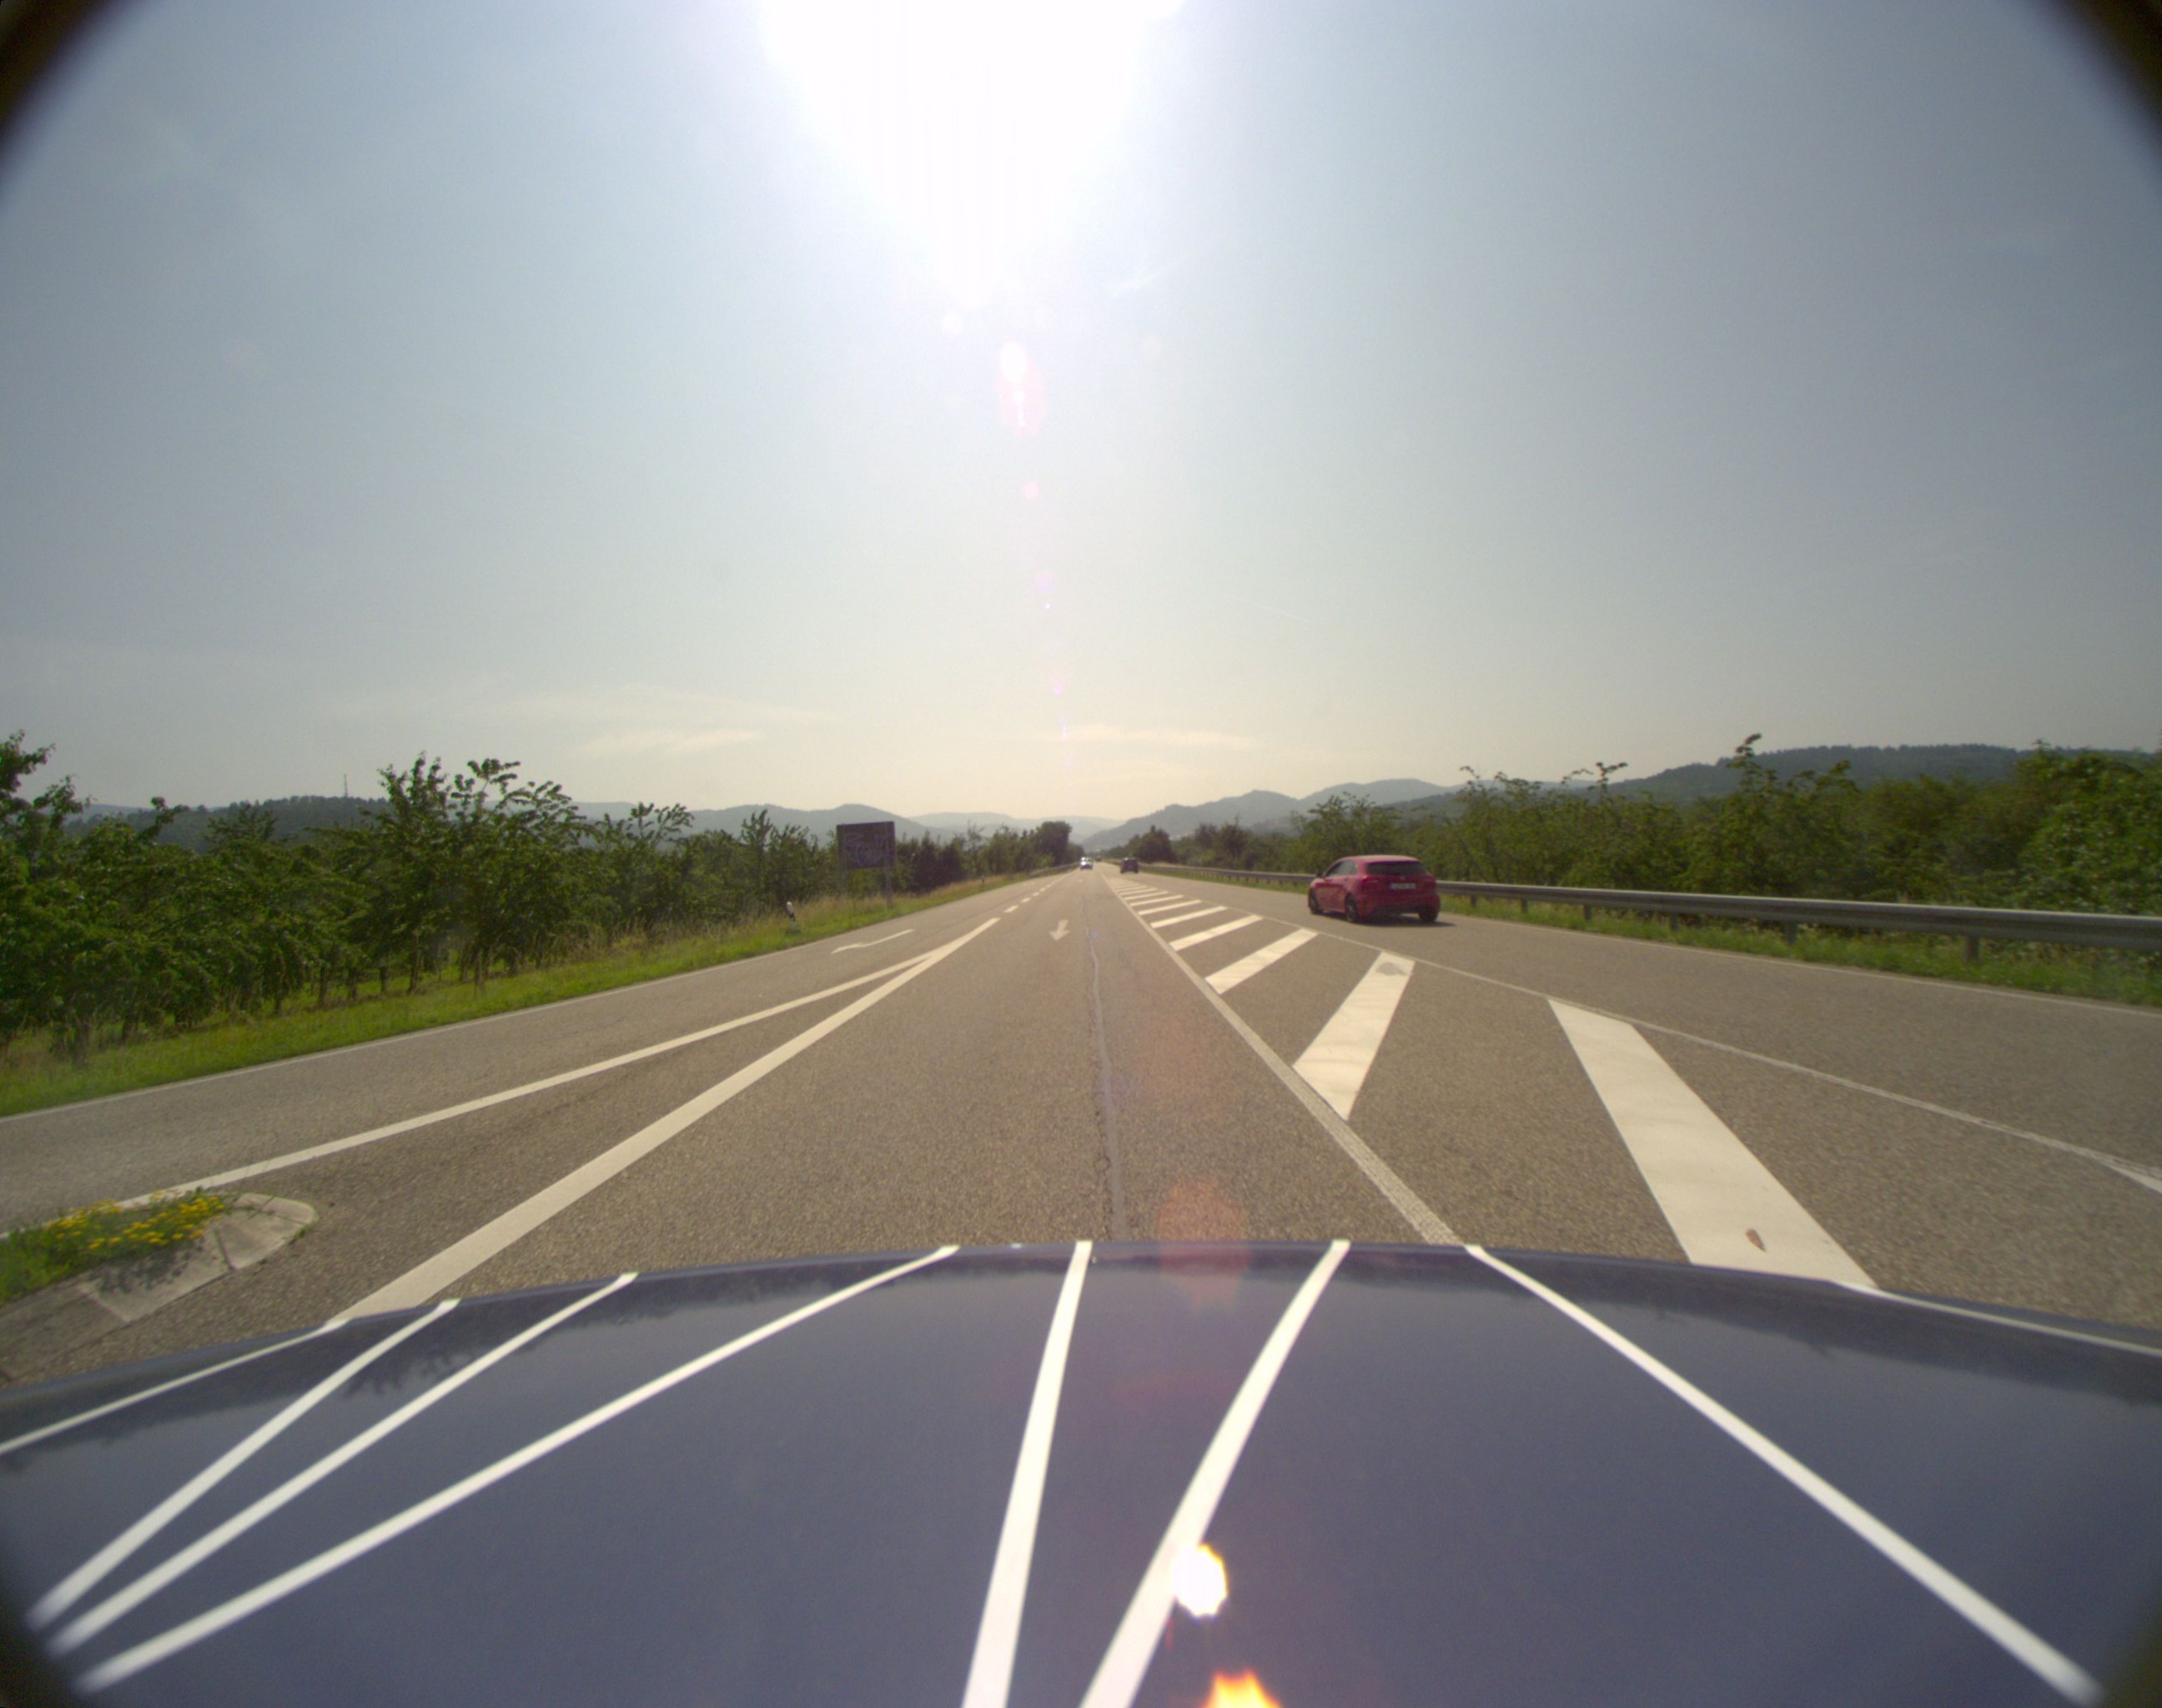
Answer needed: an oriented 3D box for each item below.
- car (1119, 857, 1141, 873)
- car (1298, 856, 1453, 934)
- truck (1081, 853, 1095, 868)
[{"bbox_3d":[5.269,1.133,81.618,1.808,1.628,4.808,-2,0,-2],"label":"car"},{"bbox_3d":[6.529,0.830,17.435,1.820,1.440,4.495,-2,0,1],"label":"car"},{"bbox_3d":[1.197,0.997,122.207,2.031,2.232,4.765,-2,0,1],"label":"truck"}]
